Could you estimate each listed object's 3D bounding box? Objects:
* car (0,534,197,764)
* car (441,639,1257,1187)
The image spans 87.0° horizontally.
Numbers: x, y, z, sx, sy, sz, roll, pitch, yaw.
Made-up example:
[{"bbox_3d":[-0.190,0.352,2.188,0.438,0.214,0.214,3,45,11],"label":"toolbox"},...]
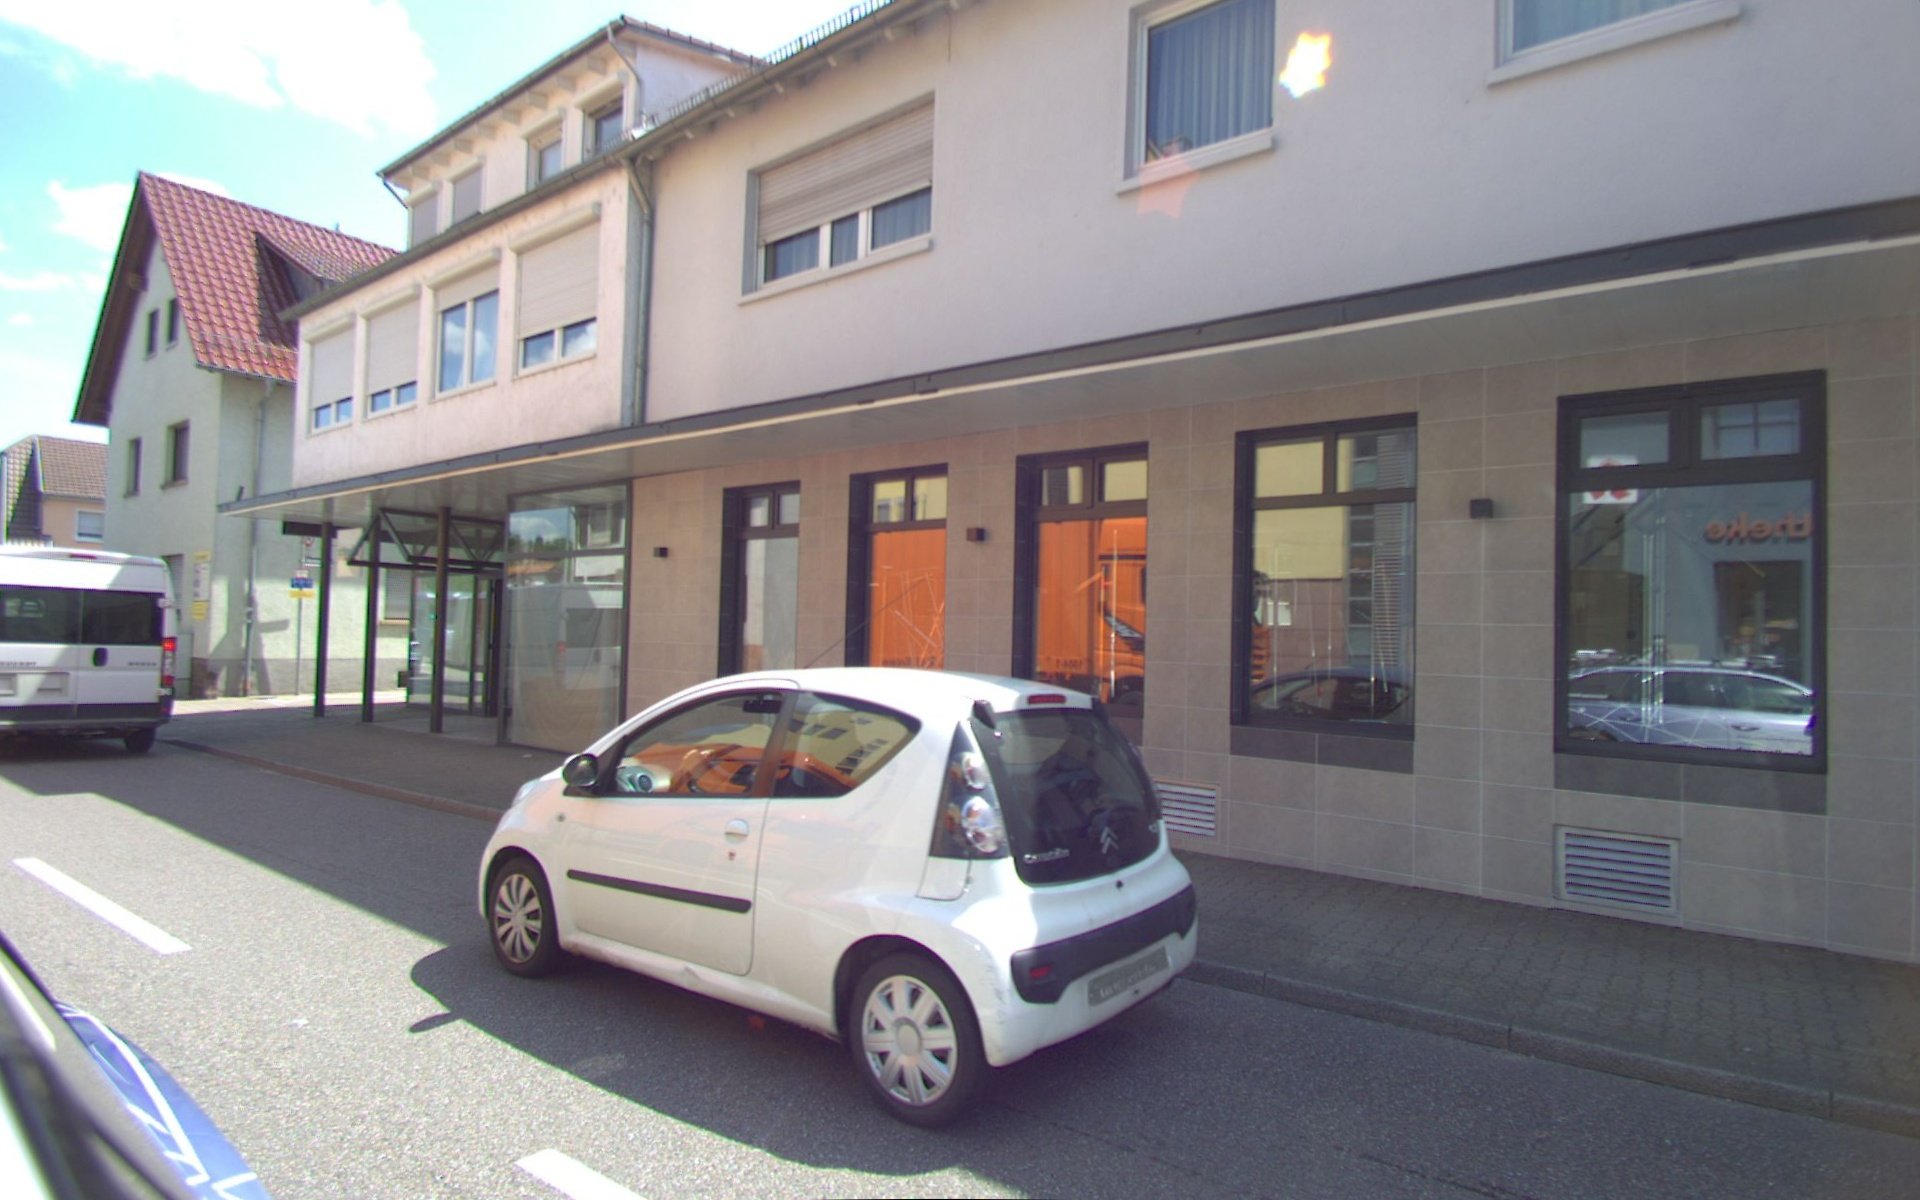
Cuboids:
[{"bbox_3d":[-12.607,0.643,13.634,5.383,2.588,2.121,-1,-4,36],"label":"car"},{"bbox_3d":[-0.640,0.963,4.512,3.441,1.466,1.582,-1,-5,37],"label":"car"}]
